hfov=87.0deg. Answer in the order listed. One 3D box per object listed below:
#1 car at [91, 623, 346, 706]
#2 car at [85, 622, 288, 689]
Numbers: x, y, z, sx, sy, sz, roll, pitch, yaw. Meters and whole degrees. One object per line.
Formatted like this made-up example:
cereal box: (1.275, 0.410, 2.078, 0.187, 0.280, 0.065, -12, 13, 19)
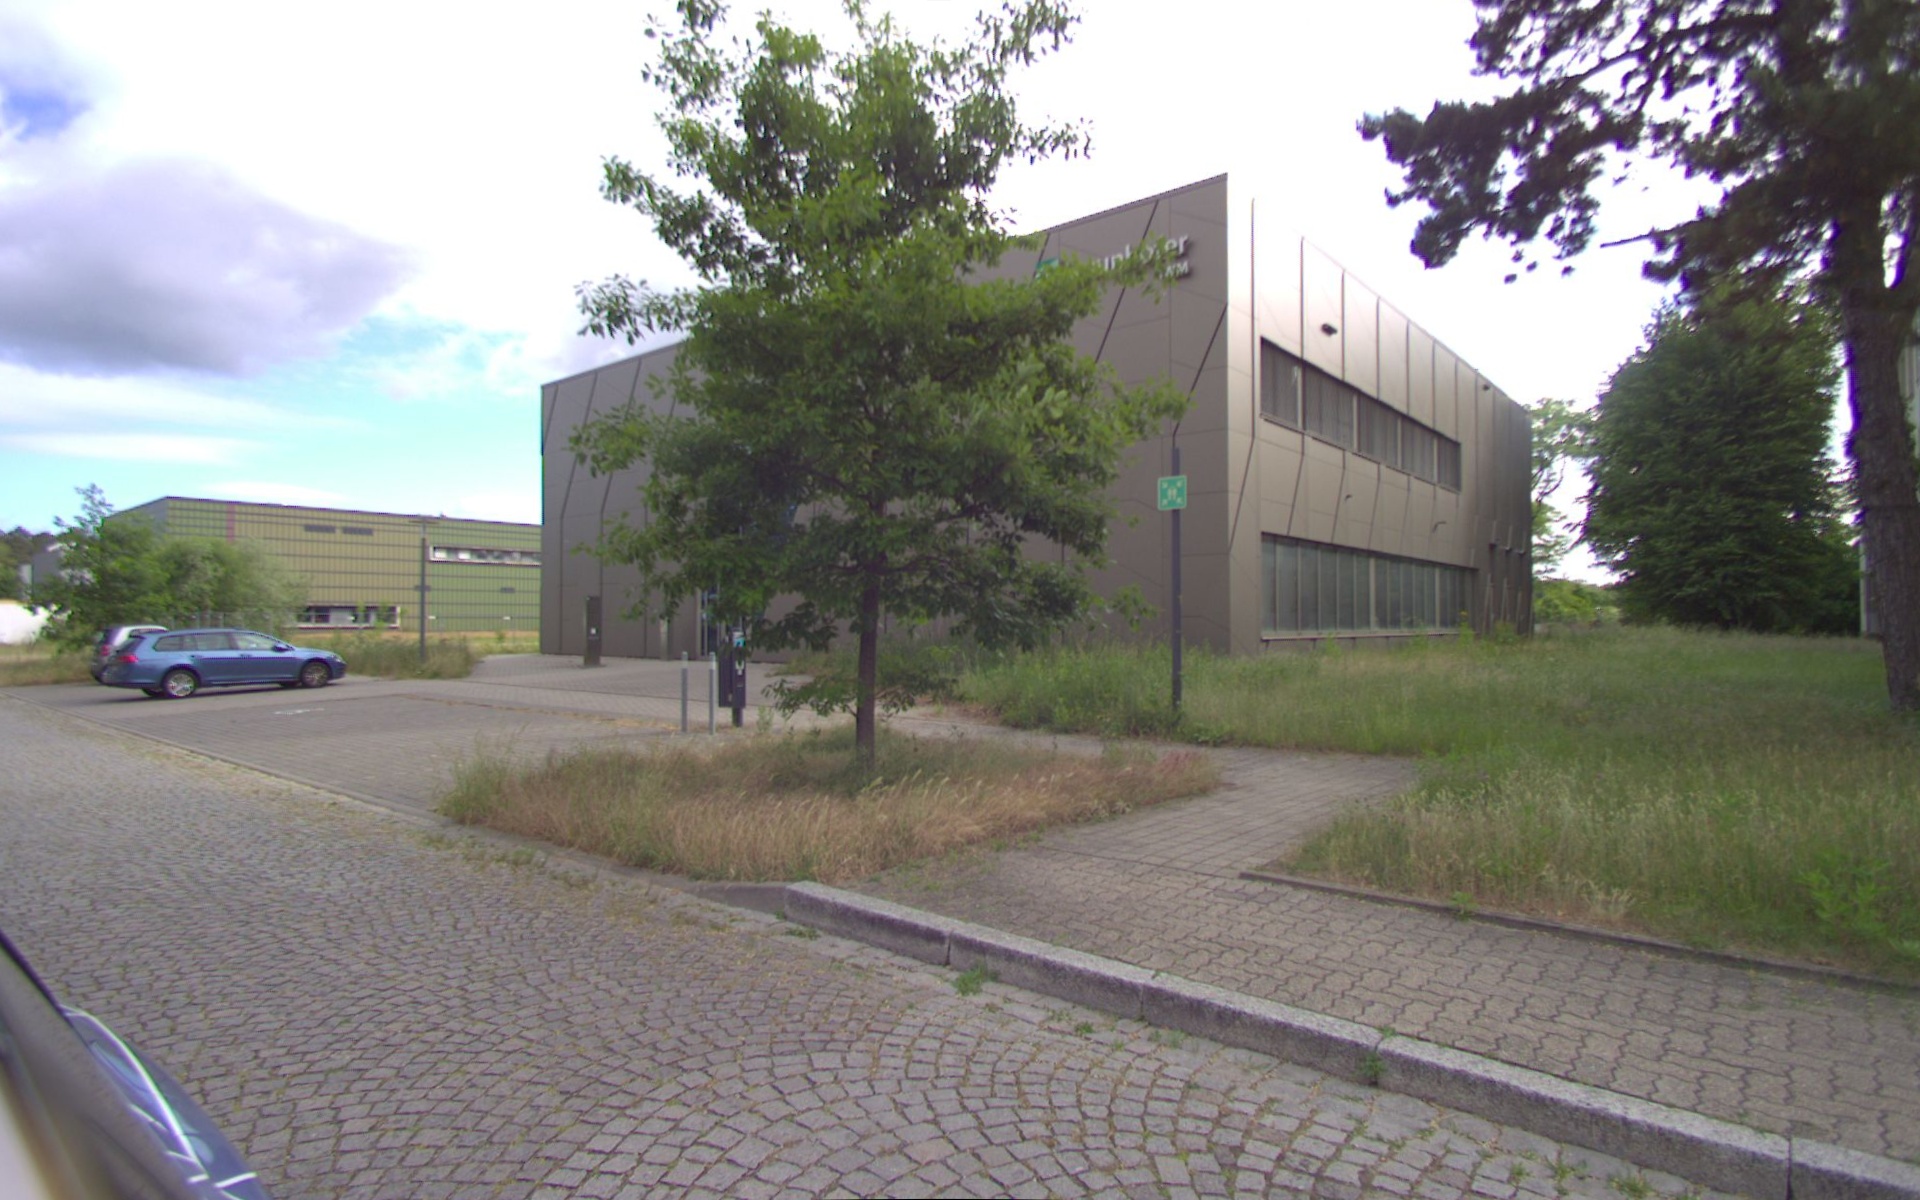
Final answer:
car: (-16.662, 1.367, 22.950, 1.714, 1.521, 4.352, -1, 1, 37)
car: (-21.616, 1.501, 28.404, 4.340, 1.557, 1.843, -2, 0, -44)
